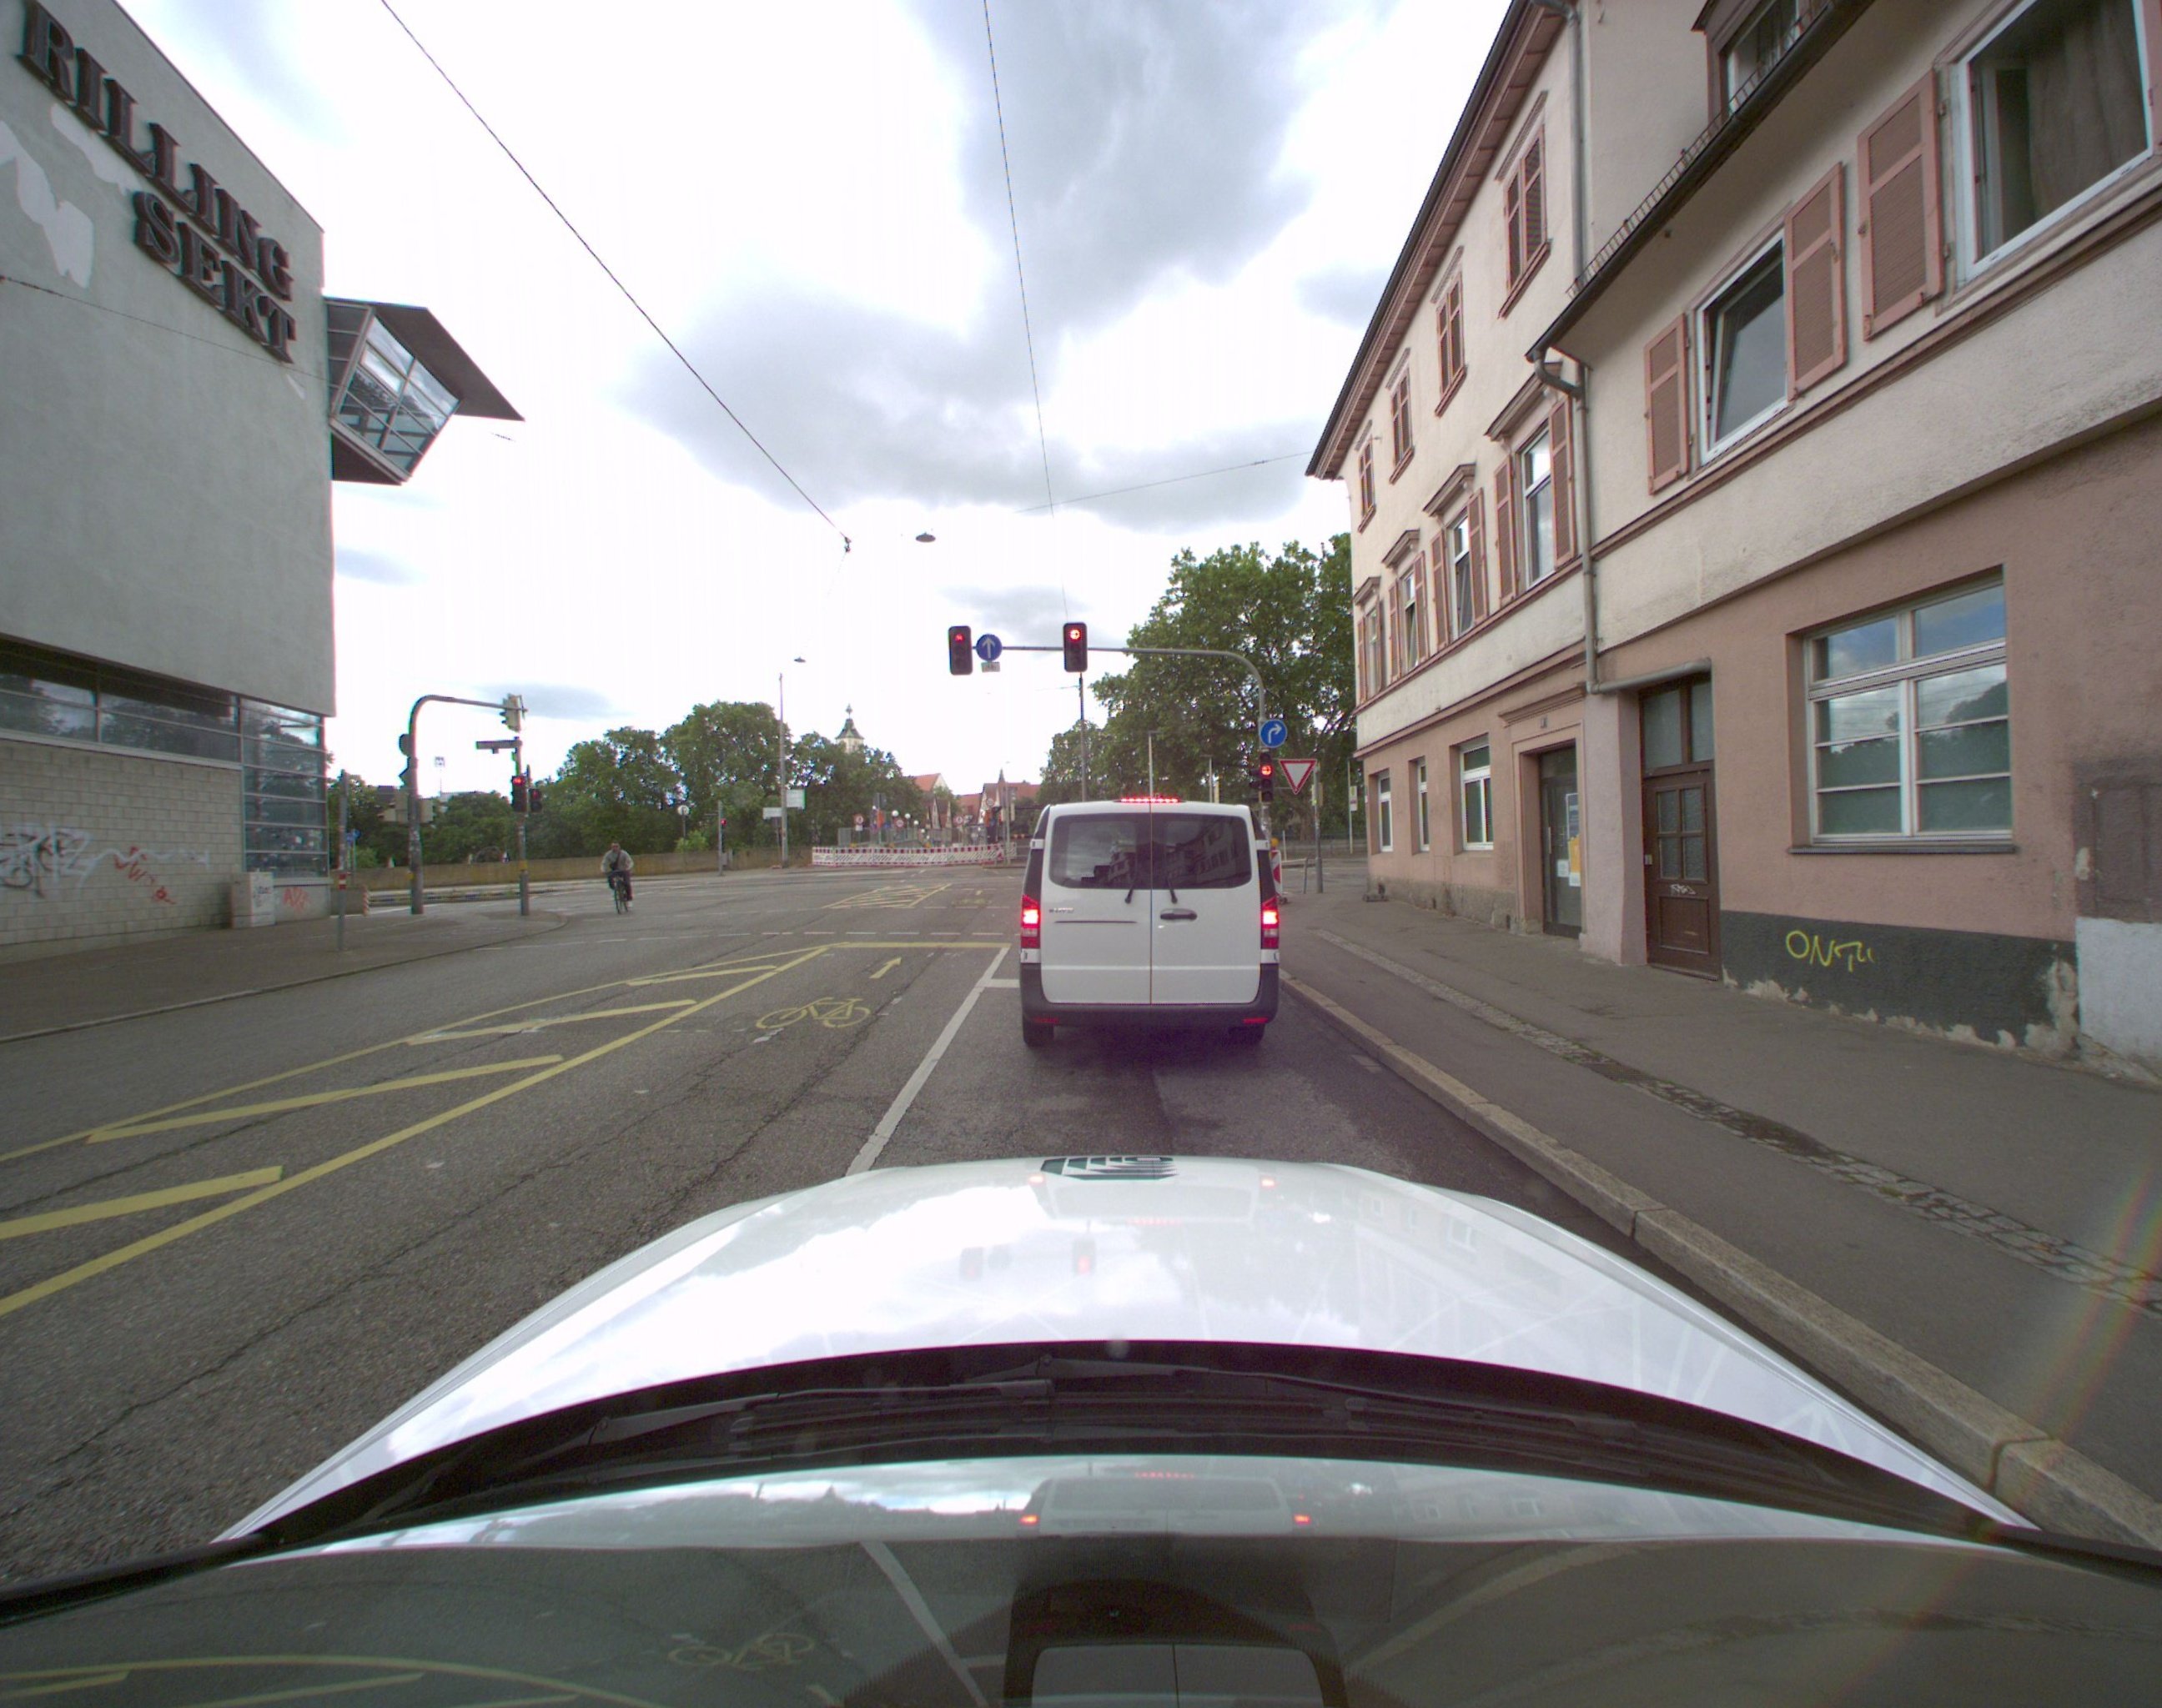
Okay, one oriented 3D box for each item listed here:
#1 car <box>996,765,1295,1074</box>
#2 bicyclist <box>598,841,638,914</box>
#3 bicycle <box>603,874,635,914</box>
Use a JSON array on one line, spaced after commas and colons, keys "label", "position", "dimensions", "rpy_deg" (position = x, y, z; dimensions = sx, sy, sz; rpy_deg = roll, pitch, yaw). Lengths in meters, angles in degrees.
[{"label": "car", "position": [0.499, 0.379, 7.689], "dimensions": [1.943, 2.013, 4.700], "rpy_deg": [0, 1, 2]}, {"label": "bicyclist", "position": [-11.246, 0.560, 19.800], "dimensions": [0.727, 1.701, 0.804], "rpy_deg": [-2, 0, -25]}, {"label": "bicycle", "position": [-11.355, 0.971, 20.051], "dimensions": [0.544, 0.892, 1.864], "rpy_deg": [-2, 0, -25]}]
